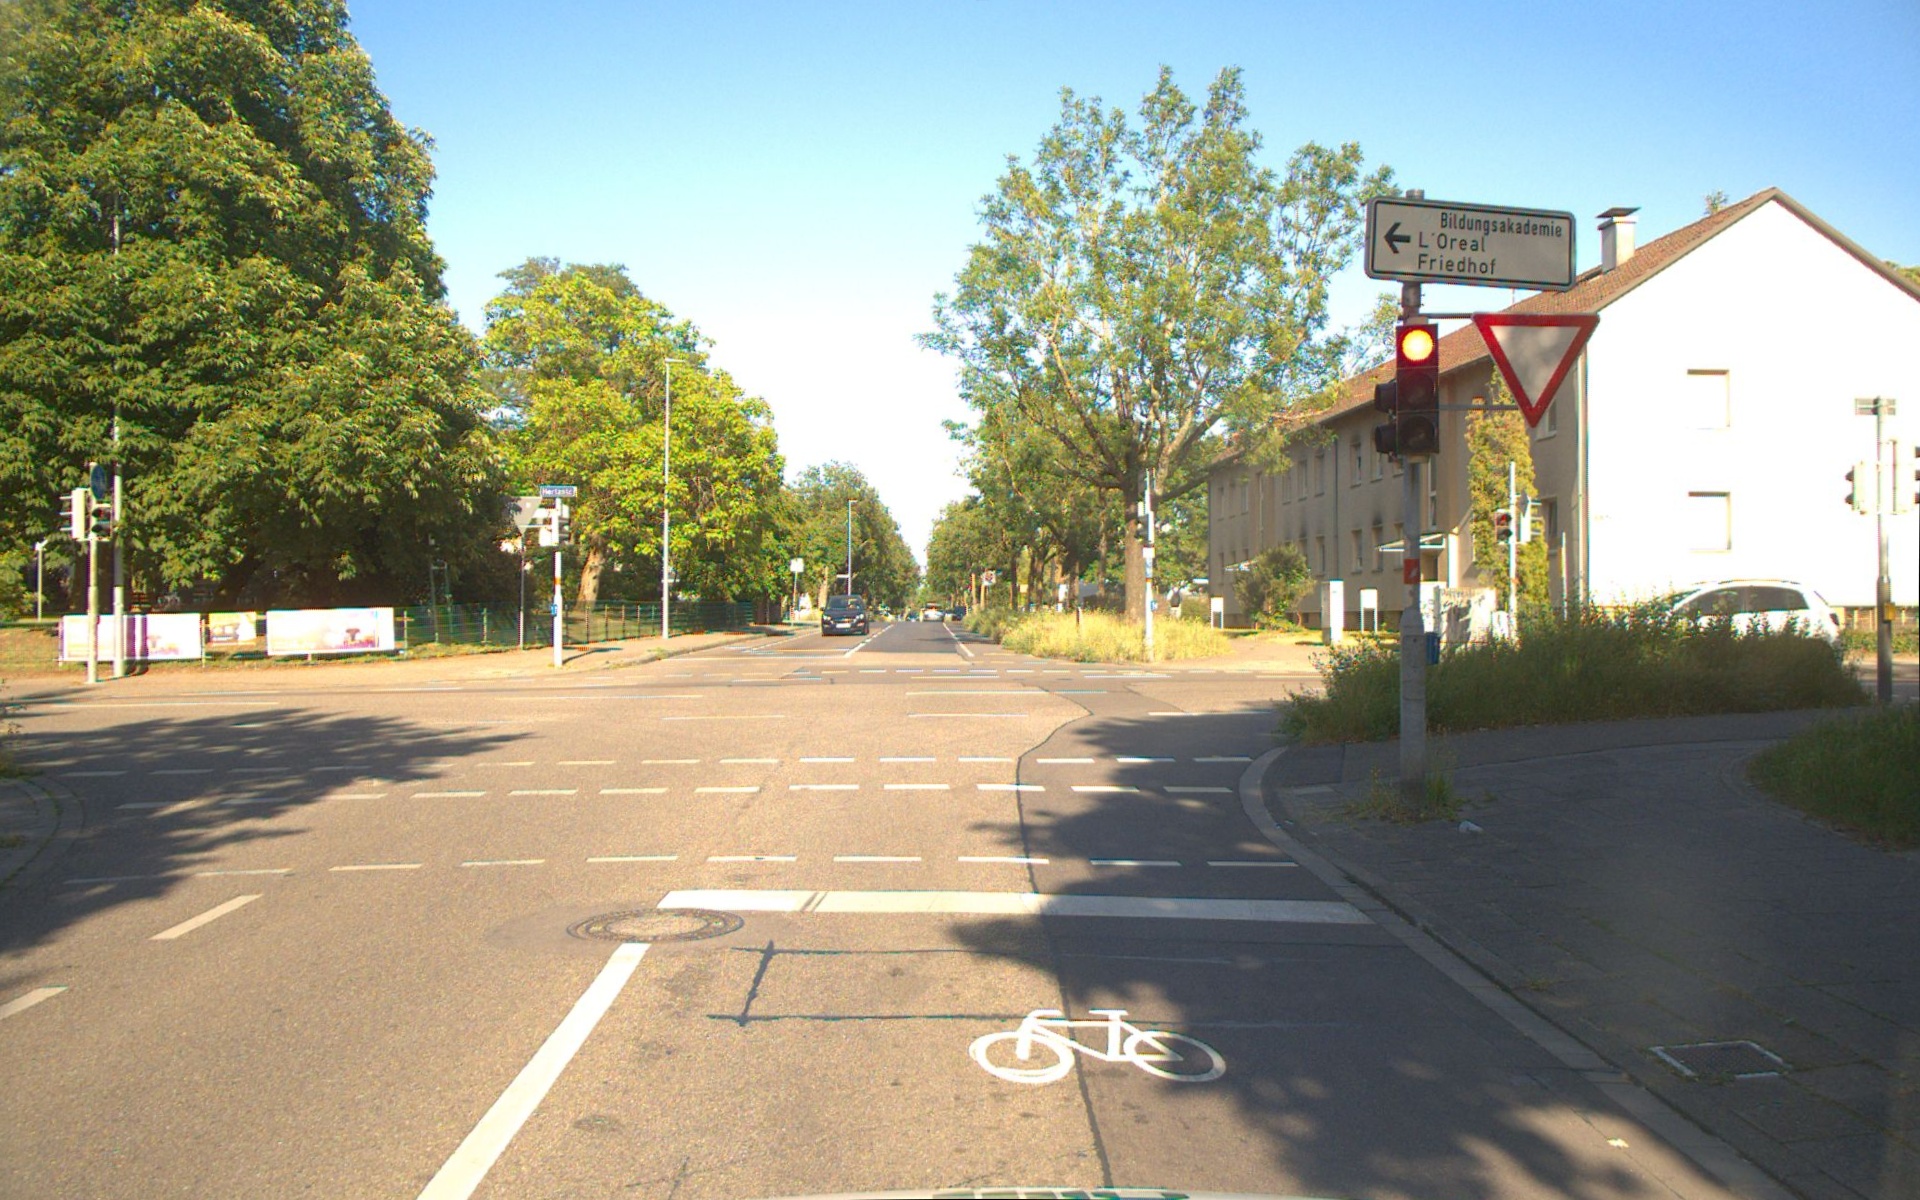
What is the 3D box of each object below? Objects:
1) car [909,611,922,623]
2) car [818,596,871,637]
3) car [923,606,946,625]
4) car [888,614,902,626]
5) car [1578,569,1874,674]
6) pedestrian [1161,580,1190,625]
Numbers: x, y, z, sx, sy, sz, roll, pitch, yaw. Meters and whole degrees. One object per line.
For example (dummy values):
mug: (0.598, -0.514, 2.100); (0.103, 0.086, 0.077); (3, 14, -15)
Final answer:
car: (-6.290, 2.435, 234.634); (1.722, 1.652, 3.268); (0, 1, 0)
car: (-4.231, 0.585, 60.826); (1.676, 1.410, 3.471); (0, 1, 0)
car: (-2.068, 1.230, 132.156); (1.807, 1.487, 3.529); (0, 1, -1)
car: (-8.769, 2.693, 224.199); (1.722, 1.652, 3.268); (0, 1, 0)
car: (12.401, 0.350, 26.916); (4.025, 1.590, 1.756); (1, 0, -4)
pedestrian: (7.509, 0.092, 57.544); (0.825, 1.519, 0.924); (2, 0, -1)
